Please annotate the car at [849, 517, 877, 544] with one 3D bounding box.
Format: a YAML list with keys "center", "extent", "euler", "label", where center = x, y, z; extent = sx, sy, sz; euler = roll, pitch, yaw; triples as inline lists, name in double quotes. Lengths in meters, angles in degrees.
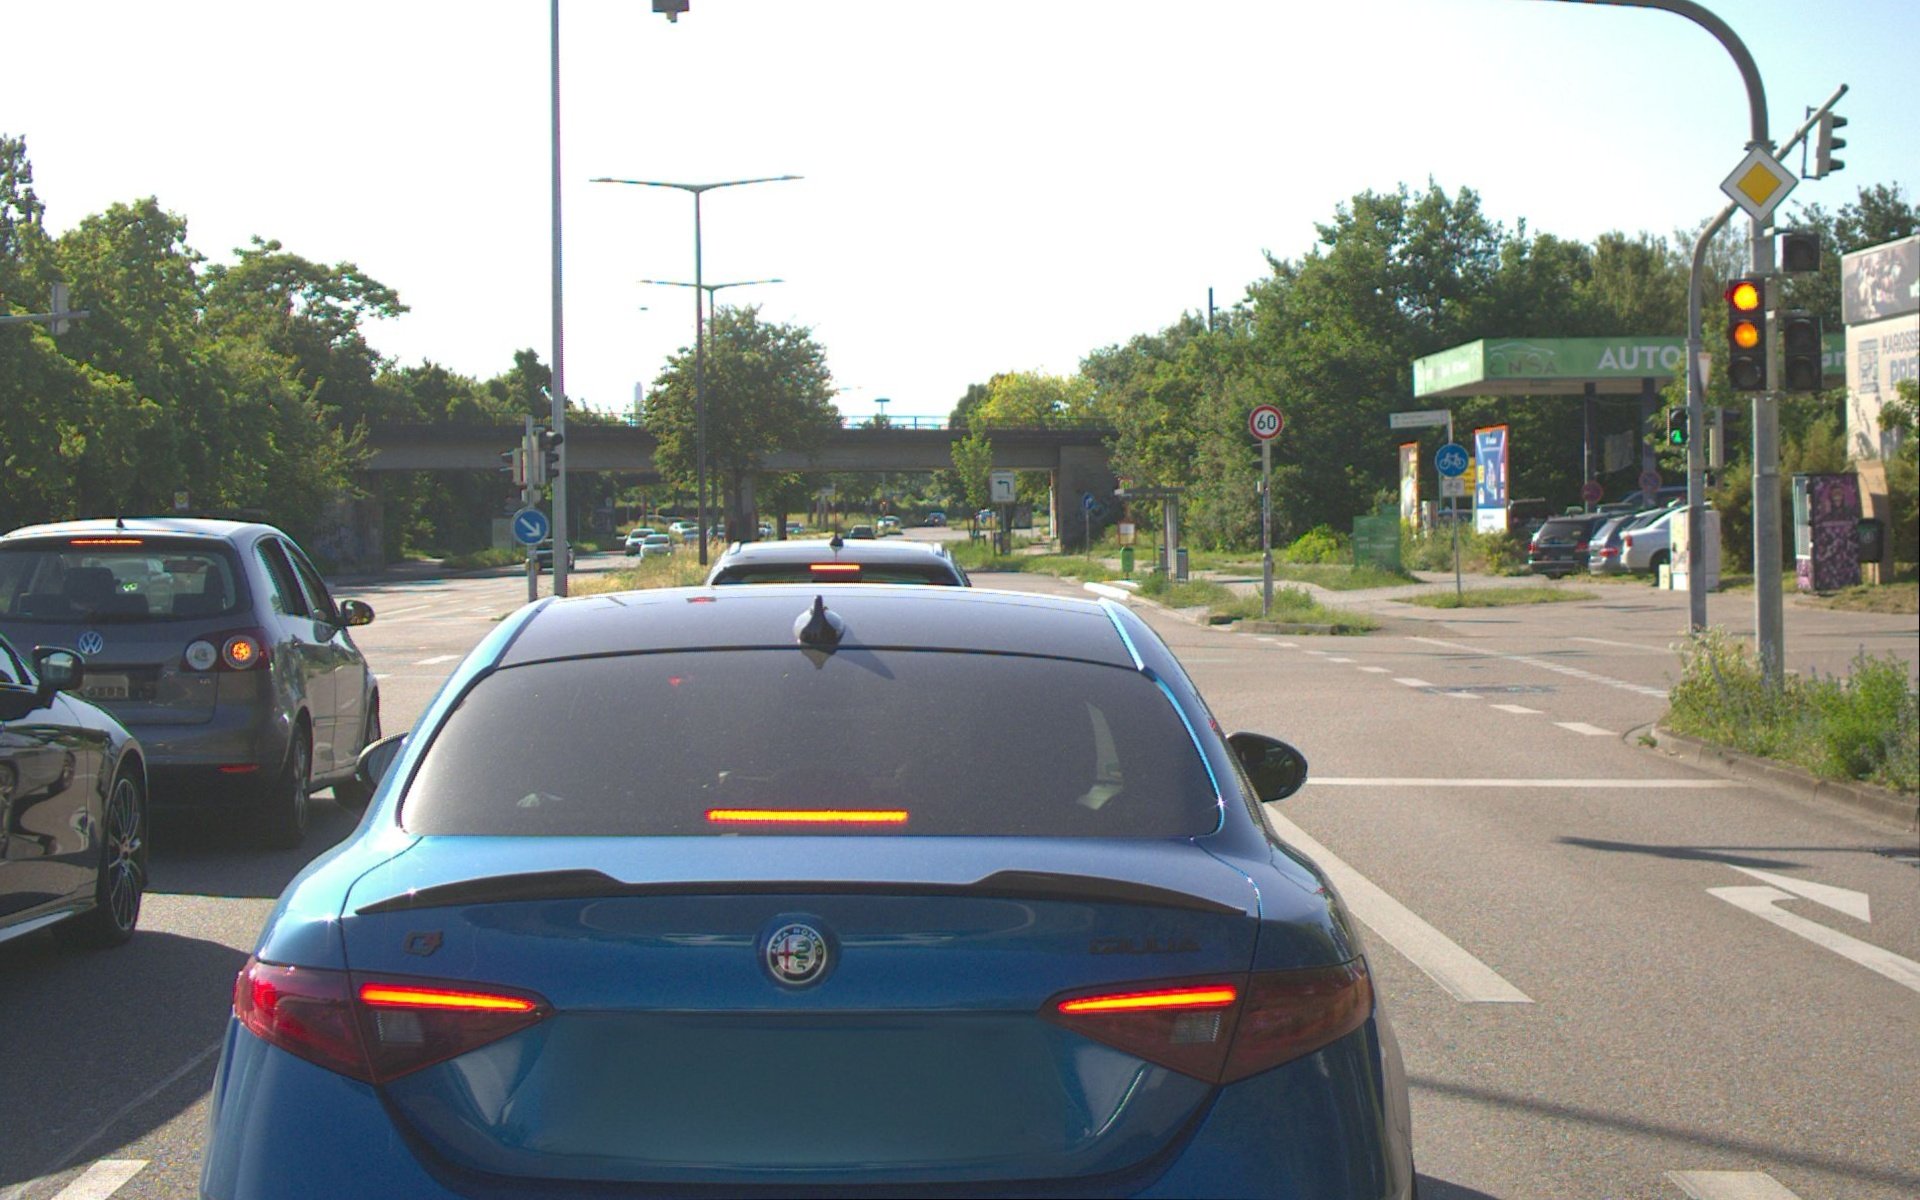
- center: [-6.776, -4.821, 239.781]
  extent: [1.891, 1.809, 4.000]
  euler: [1, 1, -1]
  label: "car"

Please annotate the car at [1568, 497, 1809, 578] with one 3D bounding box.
- center: [14.816, -1.272, 70.089]
  extent: [4.489, 1.449, 1.858]
  euler: [-2, 1, 1]
  label: "car"

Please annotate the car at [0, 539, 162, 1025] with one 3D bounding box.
- center: [-3.829, 0.544, 10.604]
  extent: [1.796, 1.485, 4.476]
  euler: [1, 1, -2]
  label: "car"

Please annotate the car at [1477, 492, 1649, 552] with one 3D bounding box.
- center: [17.045, -2.205, 97.302]
  extent: [4.551, 1.485, 1.765]
  euler: [-2, 1, 1]
  label: "car"

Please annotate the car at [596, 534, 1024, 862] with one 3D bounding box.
- center: [-0.718, 0.407, 17.227]
  extent: [1.850, 1.413, 4.403]
  euler: [1, 1, -2]
  label: "car"

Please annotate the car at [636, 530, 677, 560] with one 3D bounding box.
- center: [-15.595, -2.816, 176.672]
  extent: [1.759, 1.485, 3.837]
  euler: [-2, 1, 0]
  label: "car"

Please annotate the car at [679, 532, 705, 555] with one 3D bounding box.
- center: [-18.641, -3.936, 239.302]
  extent: [1.615, 1.554, 3.358]
  euler: [1, 1, -1]
  label: "car"

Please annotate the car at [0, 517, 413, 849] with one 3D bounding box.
- center: [-3.994, 0.349, 17.703]
  extent: [1.759, 1.485, 4.403]
  euler: [1, 1, -2]
  label: "car"

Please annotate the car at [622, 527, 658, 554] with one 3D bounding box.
- center: [-19.223, -3.573, 206.697]
  extent: [1.759, 1.485, 4.478]
  euler: [-2, 1, 0]
  label: "car"

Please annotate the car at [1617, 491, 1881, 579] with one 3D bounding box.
- center: [14.776, -1.217, 64.556]
  extent: [4.489, 1.449, 1.858]
  euler: [-2, 1, 1]
  label: "car"

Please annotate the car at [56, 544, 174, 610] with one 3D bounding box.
- center: [-20.974, -0.595, 85.464]
  extent: [1.759, 1.485, 4.478]
  euler: [-4, 1, 0]
  label: "car"

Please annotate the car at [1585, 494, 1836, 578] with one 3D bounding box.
- center: [14.659, -1.256, 67.335]
  extent: [4.489, 1.449, 1.858]
  euler: [-2, 1, 1]
  label: "car"

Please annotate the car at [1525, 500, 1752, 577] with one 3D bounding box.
- center: [14.596, -1.321, 74.139]
  extent: [4.489, 1.449, 1.858]
  euler: [-2, 1, 1]
  label: "car"

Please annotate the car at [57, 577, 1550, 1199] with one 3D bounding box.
- center: [-0.263, 0.684, 6.594]
  extent: [1.895, 1.413, 4.403]
  euler: [1, 1, -2]
  label: "car"
